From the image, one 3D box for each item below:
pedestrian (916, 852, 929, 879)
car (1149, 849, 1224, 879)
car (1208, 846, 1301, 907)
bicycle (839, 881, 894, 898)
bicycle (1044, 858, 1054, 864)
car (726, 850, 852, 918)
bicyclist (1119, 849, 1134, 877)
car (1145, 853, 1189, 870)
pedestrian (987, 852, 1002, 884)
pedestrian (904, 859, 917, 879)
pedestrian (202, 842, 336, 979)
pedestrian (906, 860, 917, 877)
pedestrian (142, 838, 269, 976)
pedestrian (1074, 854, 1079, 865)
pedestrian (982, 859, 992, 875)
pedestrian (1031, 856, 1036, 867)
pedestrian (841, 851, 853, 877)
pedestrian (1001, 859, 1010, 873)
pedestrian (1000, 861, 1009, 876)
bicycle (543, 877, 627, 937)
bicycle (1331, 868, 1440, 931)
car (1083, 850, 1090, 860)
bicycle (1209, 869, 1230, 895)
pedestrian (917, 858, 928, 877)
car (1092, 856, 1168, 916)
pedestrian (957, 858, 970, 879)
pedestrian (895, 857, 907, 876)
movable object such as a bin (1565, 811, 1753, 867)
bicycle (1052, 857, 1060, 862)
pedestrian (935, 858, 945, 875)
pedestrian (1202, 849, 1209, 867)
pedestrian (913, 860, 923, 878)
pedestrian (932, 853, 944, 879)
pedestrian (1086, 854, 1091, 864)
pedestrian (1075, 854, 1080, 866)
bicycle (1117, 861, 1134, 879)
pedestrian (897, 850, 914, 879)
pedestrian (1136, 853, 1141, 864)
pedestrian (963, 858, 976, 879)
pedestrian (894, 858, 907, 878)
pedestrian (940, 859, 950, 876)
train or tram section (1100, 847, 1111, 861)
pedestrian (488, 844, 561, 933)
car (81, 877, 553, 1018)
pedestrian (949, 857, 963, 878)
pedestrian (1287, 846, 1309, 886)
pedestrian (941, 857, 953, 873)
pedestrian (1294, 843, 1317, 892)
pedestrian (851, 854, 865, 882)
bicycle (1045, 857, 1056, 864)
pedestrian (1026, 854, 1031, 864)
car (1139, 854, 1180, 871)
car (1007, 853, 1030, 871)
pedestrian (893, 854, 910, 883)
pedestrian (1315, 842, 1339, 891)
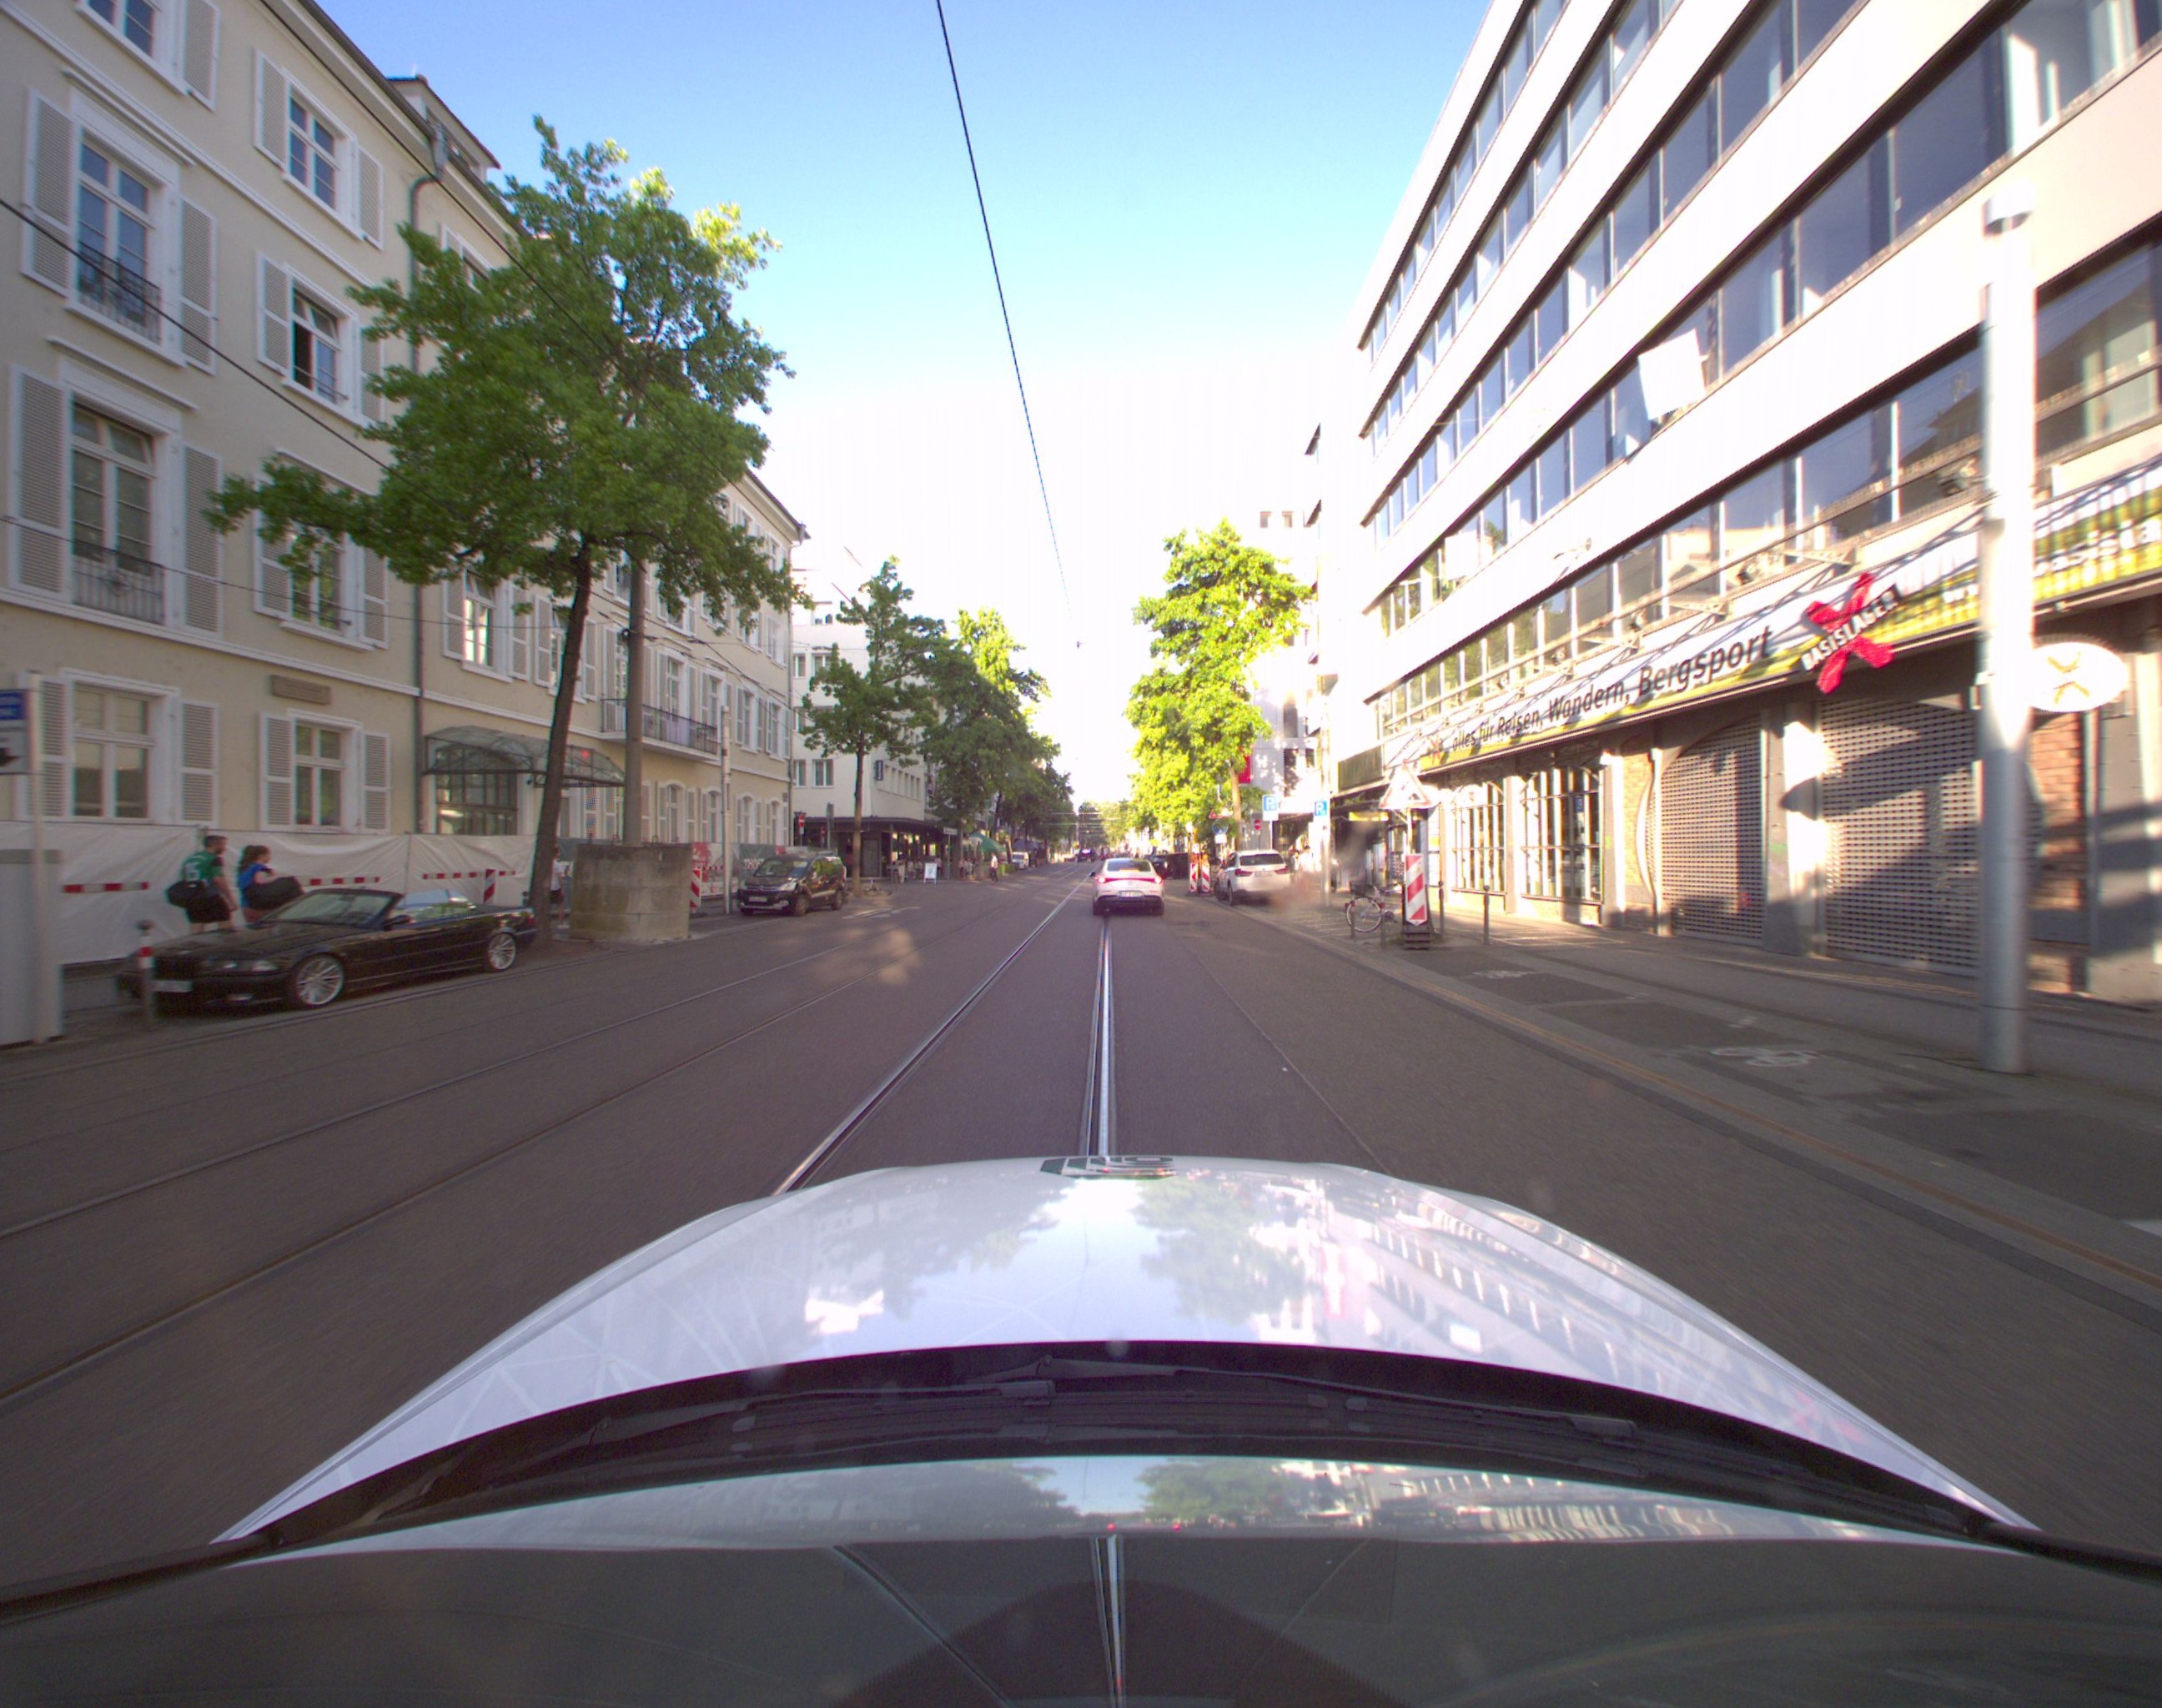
[{"bbox_3d":[-10.560,0.750,54.185,0.675,1.757,0.697,1,0,3],"label":"pedestrian"},{"bbox_3d":[7.078,0.674,54.520,4.678,1.763,1.976,-3,0,-28],"label":"car"},{"bbox_3d":[5.688,0.682,27.336,2.016,1.737,4.907,-3,0,0],"label":"car"},{"bbox_3d":[-8.581,1.408,32.703,1.787,0.609,1.284,1,0,5],"label":"bicycle"},{"bbox_3d":[-5.090,1.167,129.605,1.586,0.930,0.378,1,0,8],"label":"bicycle"},{"bbox_3d":[-8.476,0.802,24.158,1.849,1.832,4.563,0,0,3],"label":"car"},{"bbox_3d":[2.704,0.545,48.531,0.772,1.613,0.915,1,0,11],"label":"bicyclist"},{"bbox_3d":[9.225,0.804,87.273,4.262,1.587,1.866,-3,0,-30],"label":"car"},{"bbox_3d":[-4.855,0.780,45.869,0.794,1.740,0.864,-1,1,-6],"label":"pedestrian"},{"bbox_3d":[-11.119,0.945,53.077,0.624,1.282,0.728,1,0,2],"label":"pedestrian"},{"bbox_3d":[-11.153,0.749,11.221,0.862,1.781,0.885,2,0,1],"label":"pedestrian"},{"bbox_3d":[-11.625,0.978,55.919,0.550,1.161,0.687,1,0,2],"label":"pedestrian"},{"bbox_3d":[-12.087,0.708,11.277,0.716,1.812,0.876,2,0,1],"label":"pedestrian"},{"bbox_3d":[-0.565,0.771,109.603,0.620,1.509,0.834,2,0,2],"label":"pedestrian"},{"bbox_3d":[-7.611,1.055,65.845,0.616,1.245,0.697,2,0,1],"label":"pedestrian"},{"bbox_3d":[-5.748,0.900,99.286,0.547,1.356,0.583,0,0,1],"label":"pedestrian"},{"bbox_3d":[-14.525,0.629,50.555,0.399,1.604,0.625,-1,0,35],"label":"pedestrian"},{"bbox_3d":[-6.772,1.079,73.109,0.654,1.193,0.798,2,0,1],"label":"pedestrian"},{"bbox_3d":[-6.808,1.275,72.121,0.654,1.244,0.873,2,0,1],"label":"pedestrian"},{"bbox_3d":[-10.593,1.099,17.481,0.758,1.121,2.040,2,0,-9],"label":"bicycle"},{"bbox_3d":[5.887,0.877,15.851,1.802,1.135,0.843,-3,-1,9],"label":"bicycle"},{"bbox_3d":[1.826,0.343,261.689,1.986,2.897,5.278,-1,0,2],"label":"car"},{"bbox_3d":[5.395,1.075,31.723,0.491,0.981,1.930,-1,0,0],"label":"bicycle"},{"bbox_3d":[-11.332,0.950,58.148,0.600,1.298,0.687,1,0,2],"label":"pedestrian"},{"bbox_3d":[1.270,0.802,22.126,1.850,1.455,4.177,0,0,2],"label":"car"},{"bbox_3d":[-7.869,0.954,54.370,0.686,1.386,0.807,1,0,3],"label":"pedestrian"},{"bbox_3d":[-11.577,0.786,52.332,0.550,1.235,0.687,1,0,2],"label":"pedestrian"},{"bbox_3d":[31.946,-0.765,45.473,8.113,2.910,2.840,-1,0,20],"label":"movable object such as a bin"},{"bbox_3d":[-4.715,1.054,152.191,1.492,1.029,0.343,1,0,-9],"label":"bicycle"},{"bbox_3d":[-11.123,0.964,64.363,0.616,1.309,0.697,2,0,1],"label":"pedestrian"},{"bbox_3d":[12.929,0.419,84.293,0.555,1.750,0.525,-3,-1,2],"label":"pedestrian"},{"bbox_3d":[-11.197,1.030,55.938,0.550,1.161,0.687,1,0,2],"label":"pedestrian"},{"bbox_3d":[-9.586,0.803,54.579,0.616,1.670,0.697,1,0,1],"label":"pedestrian"},{"bbox_3d":[1.346,0.925,146.503,0.784,1.801,0.845,-1,0,3],"label":"pedestrian"},{"bbox_3d":[-0.476,0.801,110.646,0.620,1.550,0.853,2,0,2],"label":"pedestrian"},{"bbox_3d":[2.689,0.945,48.499,0.714,0.995,2.065,1,0,11],"label":"bicycle"},{"bbox_3d":[-11.011,0.669,51.075,0.679,1.815,0.767,1,0,17],"label":"pedestrian"},{"bbox_3d":[9.473,0.764,134.798,0.838,1.801,0.791,1,0,3],"label":"pedestrian"},{"bbox_3d":[-7.313,0.948,53.533,0.686,1.386,0.807,1,0,3],"label":"pedestrian"},{"bbox_3d":[-11.774,0.934,53.169,0.642,1.269,0.739,1,0,2],"label":"pedestrian"},{"bbox_3d":[-10.556,1.033,63.205,0.667,1.242,0.799,1,0,1],"label":"pedestrian"},{"bbox_3d":[6.428,-0.058,210.843,2.684,3.516,12.551,-1,0,2],"label":"train or tram section"},{"bbox_3d":[-11.658,0.701,17.098,0.771,1.792,0.985,2,0,3],"label":"pedestrian"},{"bbox_3d":[-9.225,1.017,10.525,1.711,1.245,4.509,2,0,2],"label":"car"},{"bbox_3d":[-8.209,0.890,53.493,0.686,1.386,0.807,1,0,3],"label":"pedestrian"},{"bbox_3d":[10.588,0.587,39.830,0.830,1.897,0.919,-2,0,4],"label":"pedestrian"},{"bbox_3d":[-10.995,0.916,66.745,0.774,1.237,0.945,2,0,1],"label":"pedestrian"},{"bbox_3d":[8.614,0.520,31.295,0.702,1.830,0.635,-1,0,1],"label":"pedestrian"},{"bbox_3d":[-12.990,0.809,47.445,0.797,1.614,0.862,0,2,-15],"label":"pedestrian"},{"bbox_3d":[-4.936,1.092,132.679,1.784,1.077,0.377,1,0,-3],"label":"bicycle"},{"bbox_3d":[-7.927,0.751,123.651,0.595,1.533,0.672,1,0,2],"label":"pedestrian"},{"bbox_3d":[8.788,0.917,91.216,4.369,1.652,1.678,-3,0,-30],"label":"car"},{"bbox_3d":[-6.557,0.815,86.038,1.788,1.864,4.557,2,0,3],"label":"car"},{"bbox_3d":[-10.425,0.829,47.343,0.704,1.656,0.968,-1,0,3],"label":"pedestrian"},{"bbox_3d":[9.424,0.484,31.211,0.685,1.830,0.635,-1,0,1],"label":"pedestrian"}]
